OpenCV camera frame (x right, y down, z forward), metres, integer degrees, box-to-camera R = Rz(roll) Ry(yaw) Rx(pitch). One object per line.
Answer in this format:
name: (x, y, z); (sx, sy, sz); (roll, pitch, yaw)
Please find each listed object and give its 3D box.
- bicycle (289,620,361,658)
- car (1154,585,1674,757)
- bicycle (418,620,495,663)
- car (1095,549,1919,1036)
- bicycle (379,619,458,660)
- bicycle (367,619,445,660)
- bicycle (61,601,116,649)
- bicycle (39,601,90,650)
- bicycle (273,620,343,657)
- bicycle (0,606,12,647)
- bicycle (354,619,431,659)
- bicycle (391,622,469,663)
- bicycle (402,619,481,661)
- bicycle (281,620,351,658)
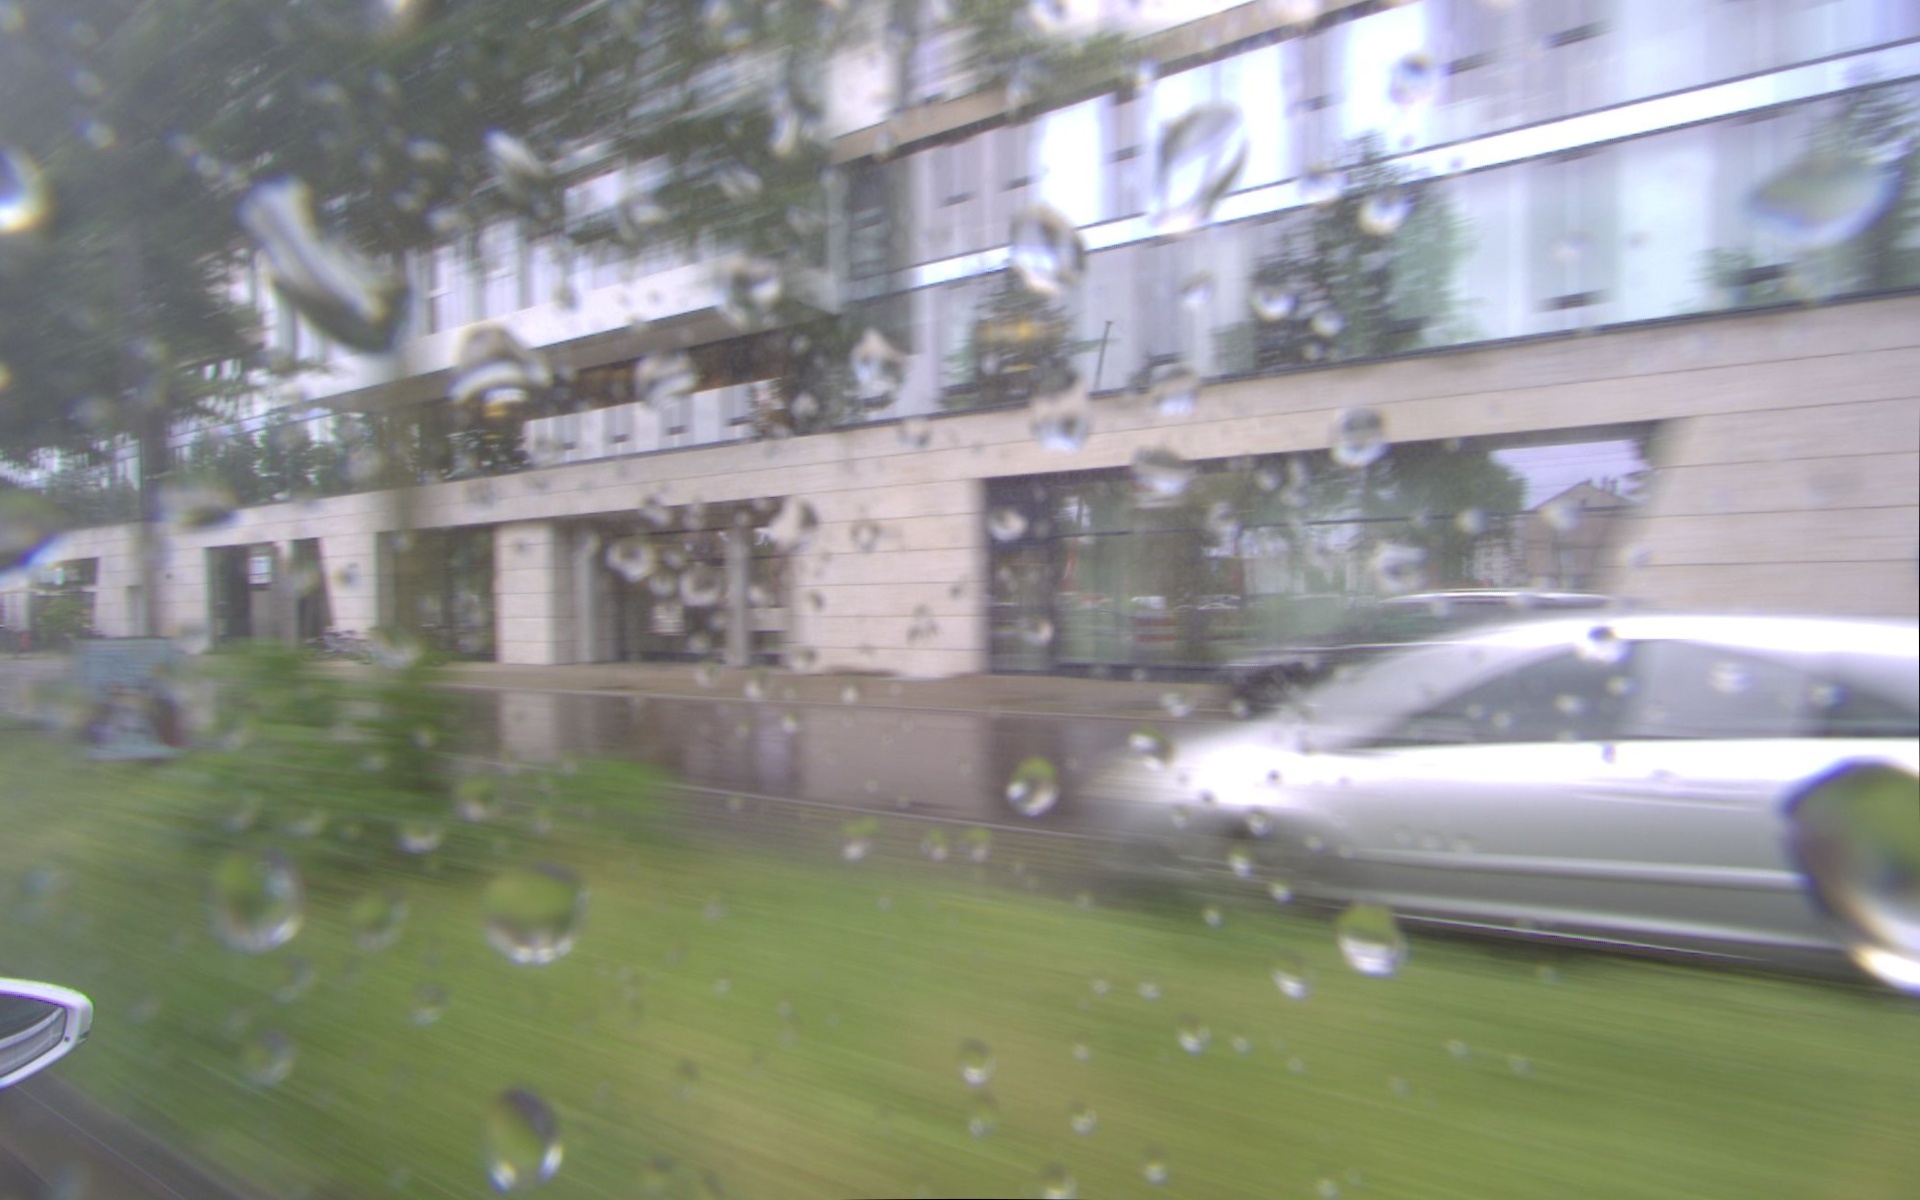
bicycle: (-18.297, 1.102, 28.888); (0.406, 1.042, 1.745); (-1, 0, 34)
car: (4.888, 0.616, 11.260); (4.961, 1.522, 1.988); (1, 2, 33)
bicycle: (-12.953, 1.046, 25.805); (0.396, 1.042, 1.802); (-1, 0, 34)
car: (3.106, 0.603, 4.204); (4.652, 1.526, 1.878); (2, 1, 30)
bicycle: (-14.512, 1.055, 26.883); (0.533, 1.042, 1.802); (-1, 0, 34)
bicycle: (-15.043, 1.057, 27.242); (0.533, 1.042, 1.802); (-1, 0, 34)
bicycle: (-34.183, 0.958, 39.255); (3.074, 1.745, 0.770); (2, 2, 32)
bicycle: (-34.420, 0.962, 38.481); (3.074, 1.745, 0.643); (2, 2, 32)
bicycle: (-19.146, 1.124, 29.447); (0.417, 1.042, 1.689); (-1, 0, 34)
bicycle: (-42.720, 1.128, 44.082); (3.074, 1.745, 0.643); (2, 2, 32)
bicycle: (-15.658, 1.070, 27.662); (0.533, 1.042, 1.802); (-1, 0, 34)
bicycle: (-14.022, 1.104, 26.540); (0.533, 1.042, 1.802); (-1, 0, 34)
bicycle: (-13.531, 1.031, 26.193); (0.533, 1.042, 1.802); (-1, 0, 34)
bicycle: (-18.745, 1.128, 29.182); (0.417, 1.042, 1.689); (-1, 0, 34)
